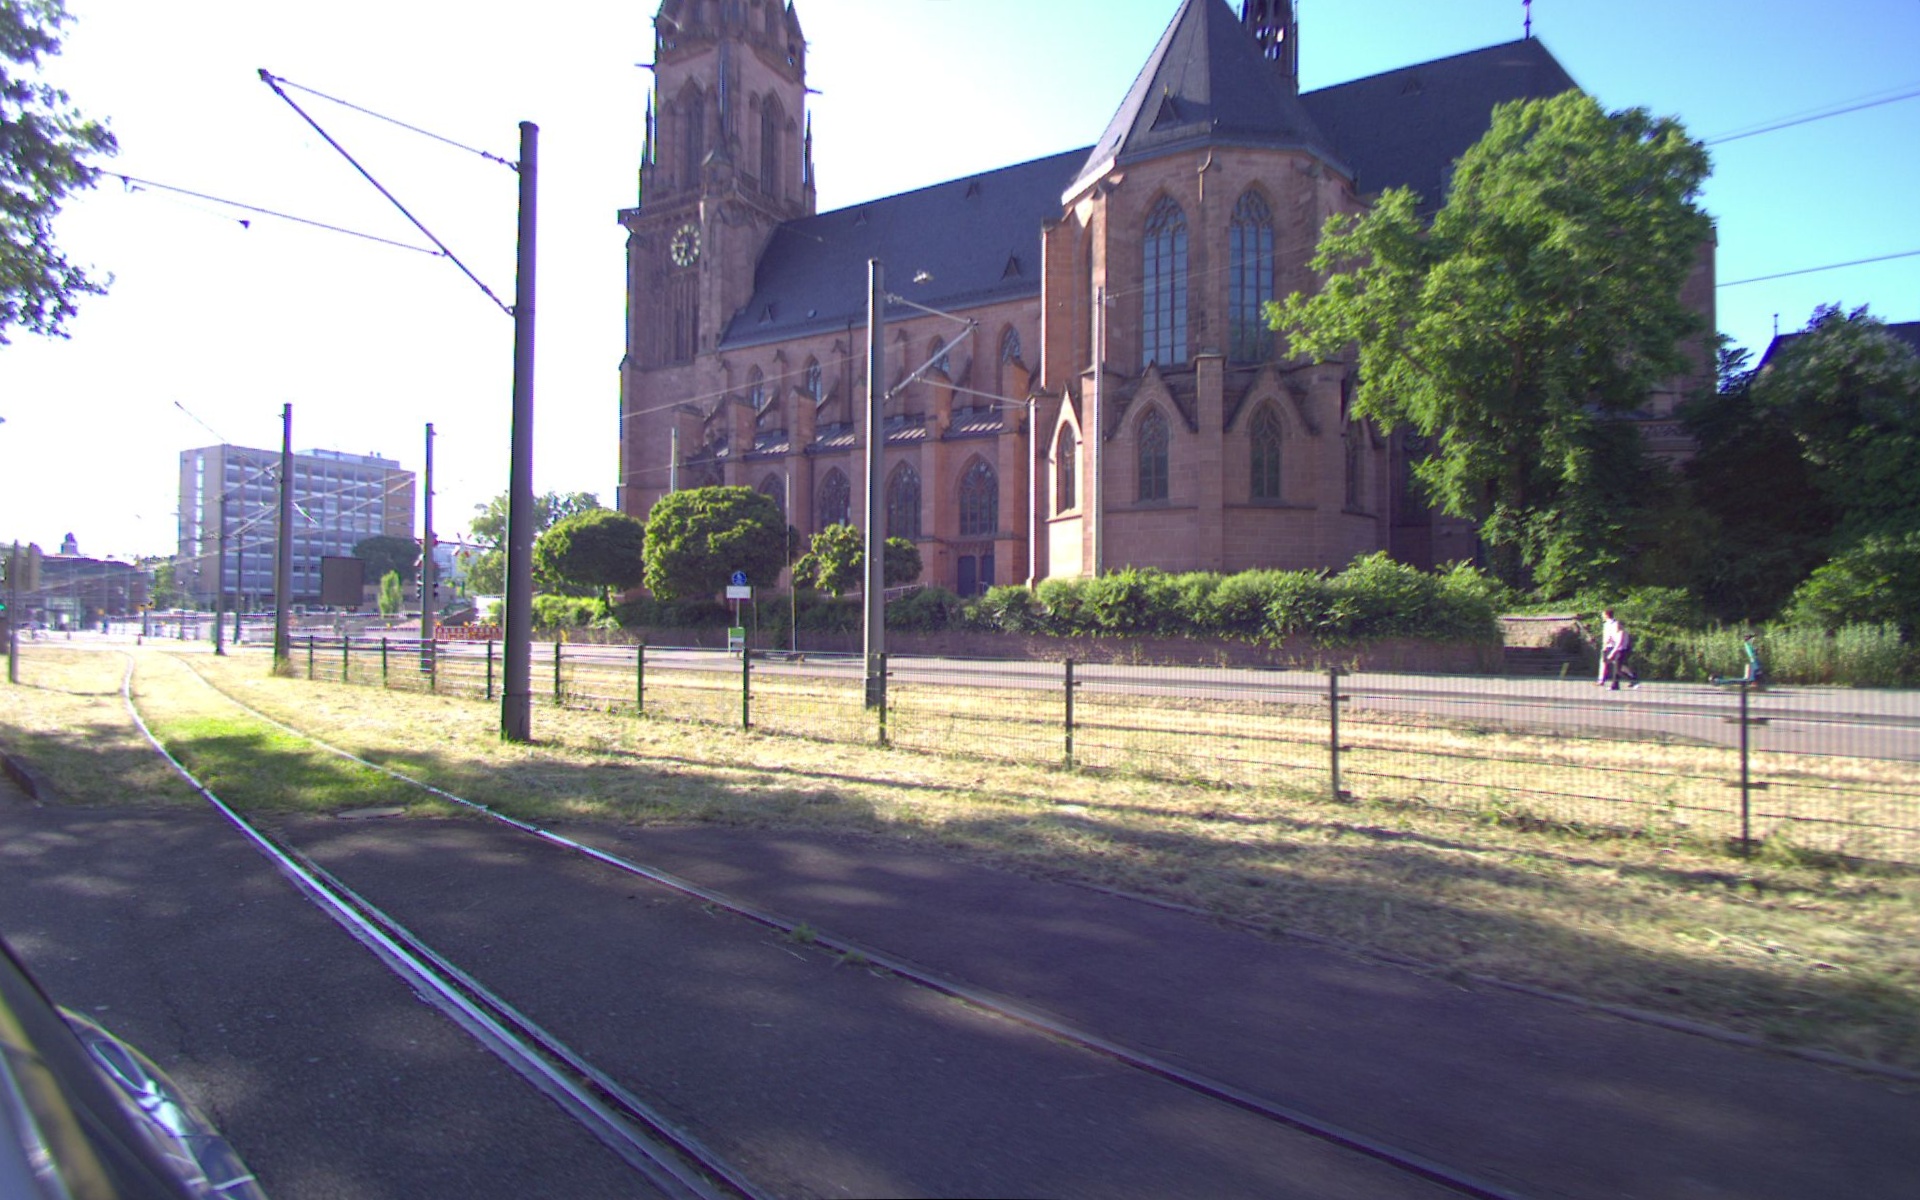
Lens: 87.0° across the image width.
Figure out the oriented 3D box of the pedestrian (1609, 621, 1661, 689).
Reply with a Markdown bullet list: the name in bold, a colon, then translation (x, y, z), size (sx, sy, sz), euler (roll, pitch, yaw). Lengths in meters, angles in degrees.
- **pedestrian**: translation (15.476, 1.241, 23.214), size (0.945, 1.500, 0.580), euler (-1, 1, 38)

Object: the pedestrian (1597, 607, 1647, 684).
- **pedestrian**: translation (15.802, 1.069, 24.153), size (0.945, 1.797, 0.580), euler (-1, 1, 38)

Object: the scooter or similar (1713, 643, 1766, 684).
- **scooter or similar**: translation (18.329, 1.489, 23.804), size (0.914, 0.943, 0.306), euler (-1, 1, 21)

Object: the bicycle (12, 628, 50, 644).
- **bicycle**: translation (-70.800, 2.726, 77.120), size (2.032, 1.091, 0.612), euler (-2, 1, -31)

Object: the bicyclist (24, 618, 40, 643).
- **bicyclist**: translation (-70.751, 2.306, 77.147), size (0.763, 1.885, 0.612), euler (-2, 1, -31)
